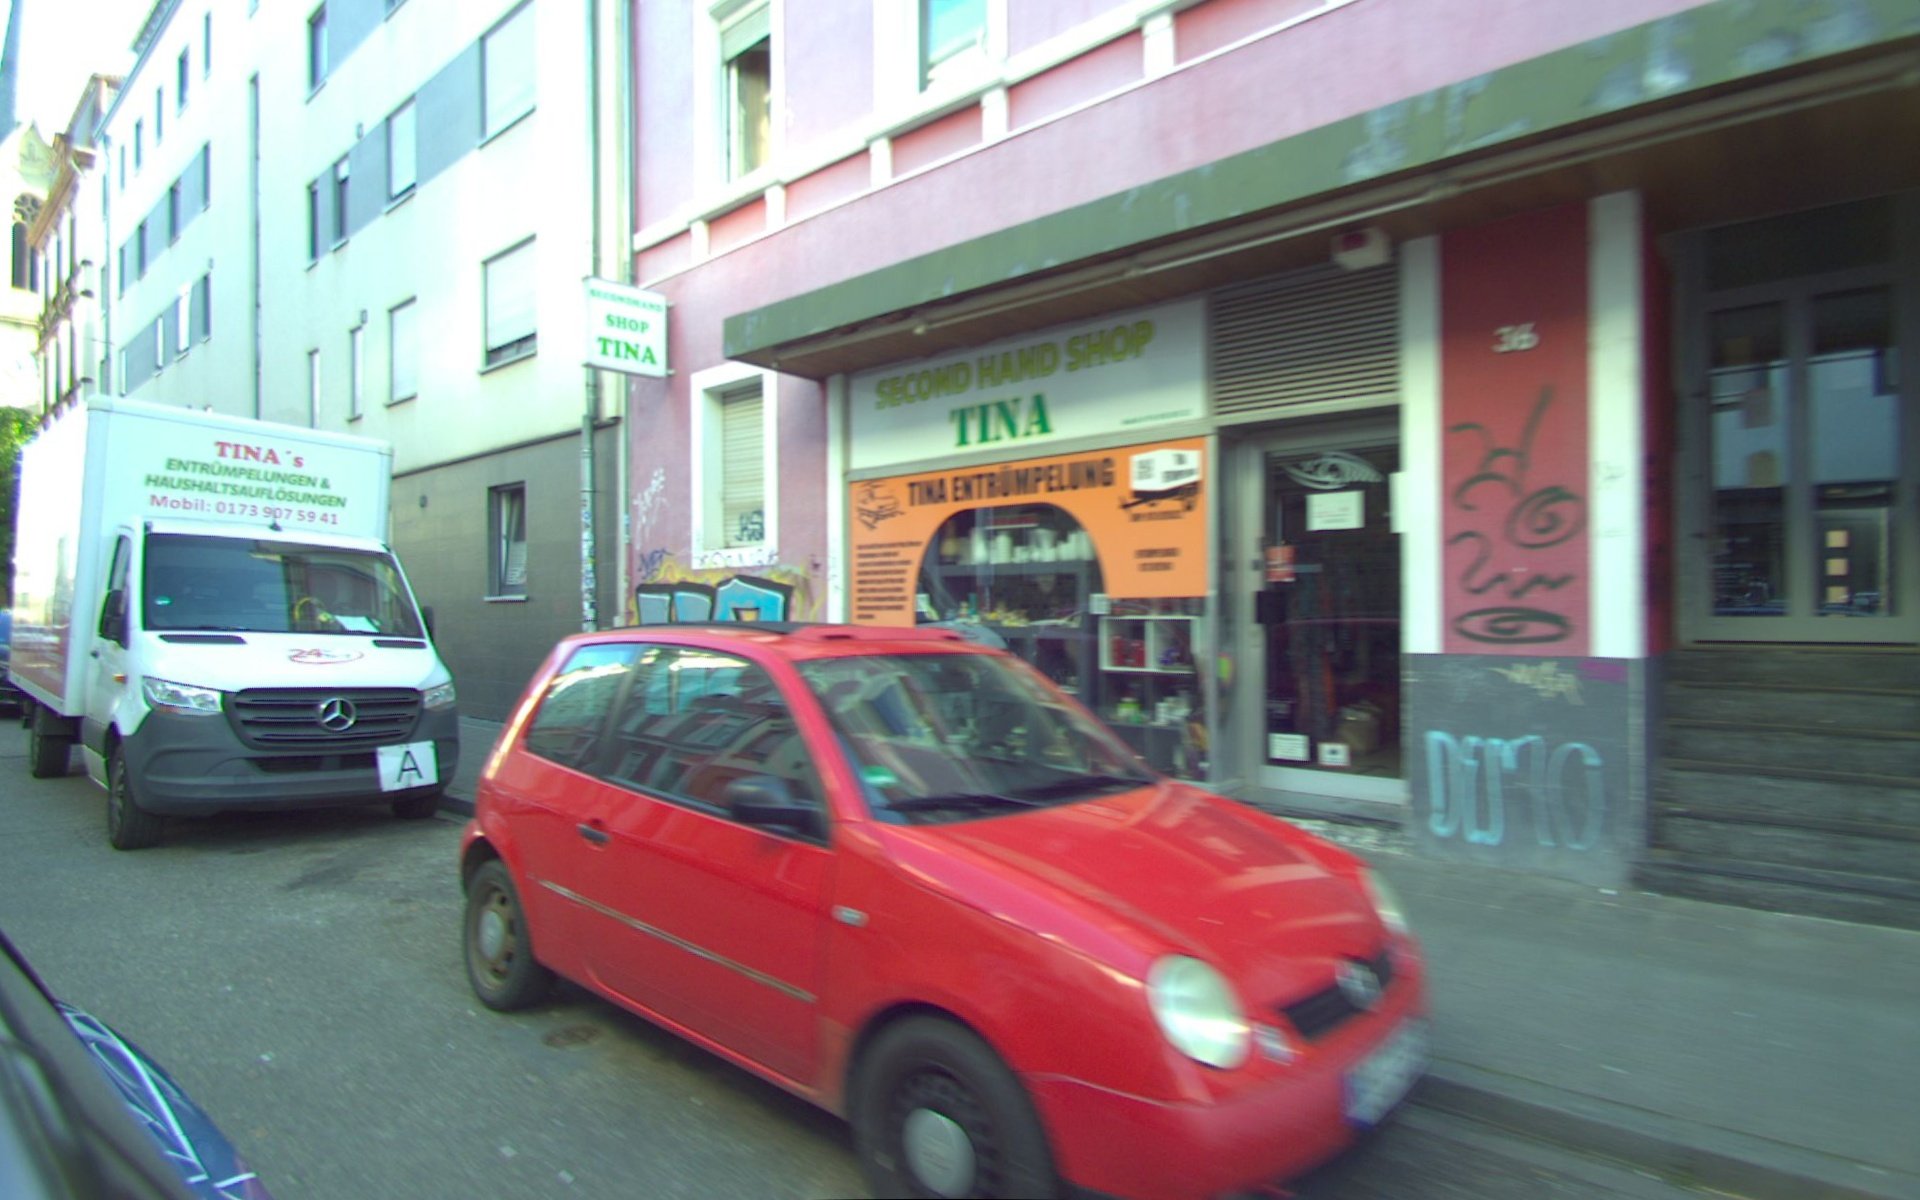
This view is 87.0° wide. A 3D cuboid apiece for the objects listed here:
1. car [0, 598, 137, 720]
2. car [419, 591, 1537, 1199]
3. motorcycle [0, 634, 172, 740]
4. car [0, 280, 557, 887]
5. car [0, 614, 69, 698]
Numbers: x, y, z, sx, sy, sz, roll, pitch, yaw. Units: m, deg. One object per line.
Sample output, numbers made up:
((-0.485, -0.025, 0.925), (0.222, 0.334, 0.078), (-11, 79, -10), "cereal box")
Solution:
((-14.394, 0.893, 15.728), (4.243, 1.663, 1.699), (-2, -4, 41), "car")
((-0.245, 0.767, 3.387), (3.563, 1.495, 1.562), (0, -2, 41), "car")
((-11.368, 1.078, 13.147), (0.779, 1.262, 2.110), (1, -2, -8), "motorcycle")
((-6.369, -0.049, 8.788), (7.152, 3.316, 2.318), (0, -2, 42), "car")
((-18.703, 1.057, 19.457), (4.496, 1.490, 1.699), (-2, -4, 41), "car")
